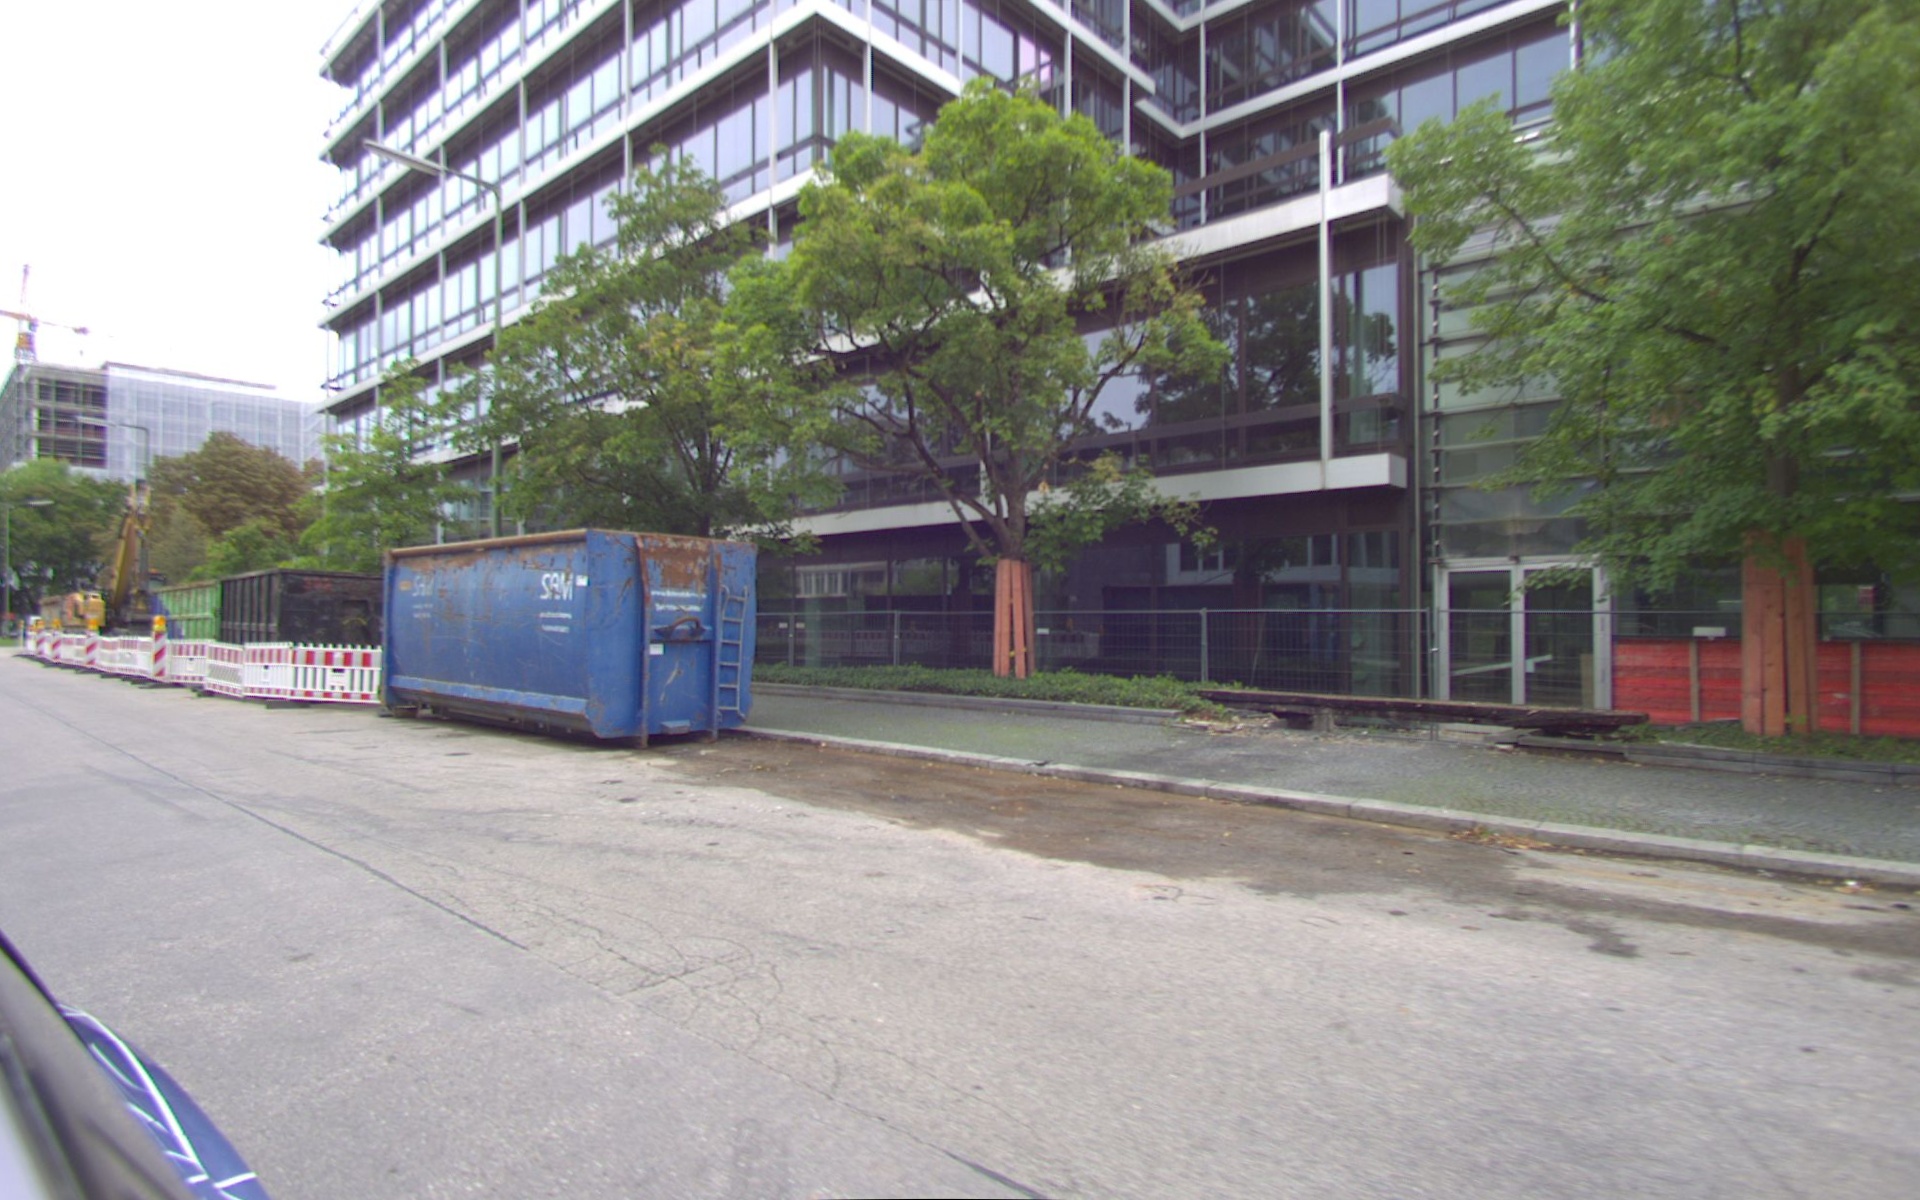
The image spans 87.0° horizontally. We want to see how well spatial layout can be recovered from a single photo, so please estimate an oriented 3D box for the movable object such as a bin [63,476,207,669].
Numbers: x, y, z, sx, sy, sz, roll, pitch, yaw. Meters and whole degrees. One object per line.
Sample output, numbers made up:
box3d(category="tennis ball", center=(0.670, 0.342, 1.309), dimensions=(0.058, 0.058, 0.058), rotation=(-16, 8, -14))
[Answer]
box3d(category="movable object such as a bin", center=(-30.668, -0.815, 37.493), dimensions=(8.339, 6.370, 3.197), rotation=(-2, -2, 45))
